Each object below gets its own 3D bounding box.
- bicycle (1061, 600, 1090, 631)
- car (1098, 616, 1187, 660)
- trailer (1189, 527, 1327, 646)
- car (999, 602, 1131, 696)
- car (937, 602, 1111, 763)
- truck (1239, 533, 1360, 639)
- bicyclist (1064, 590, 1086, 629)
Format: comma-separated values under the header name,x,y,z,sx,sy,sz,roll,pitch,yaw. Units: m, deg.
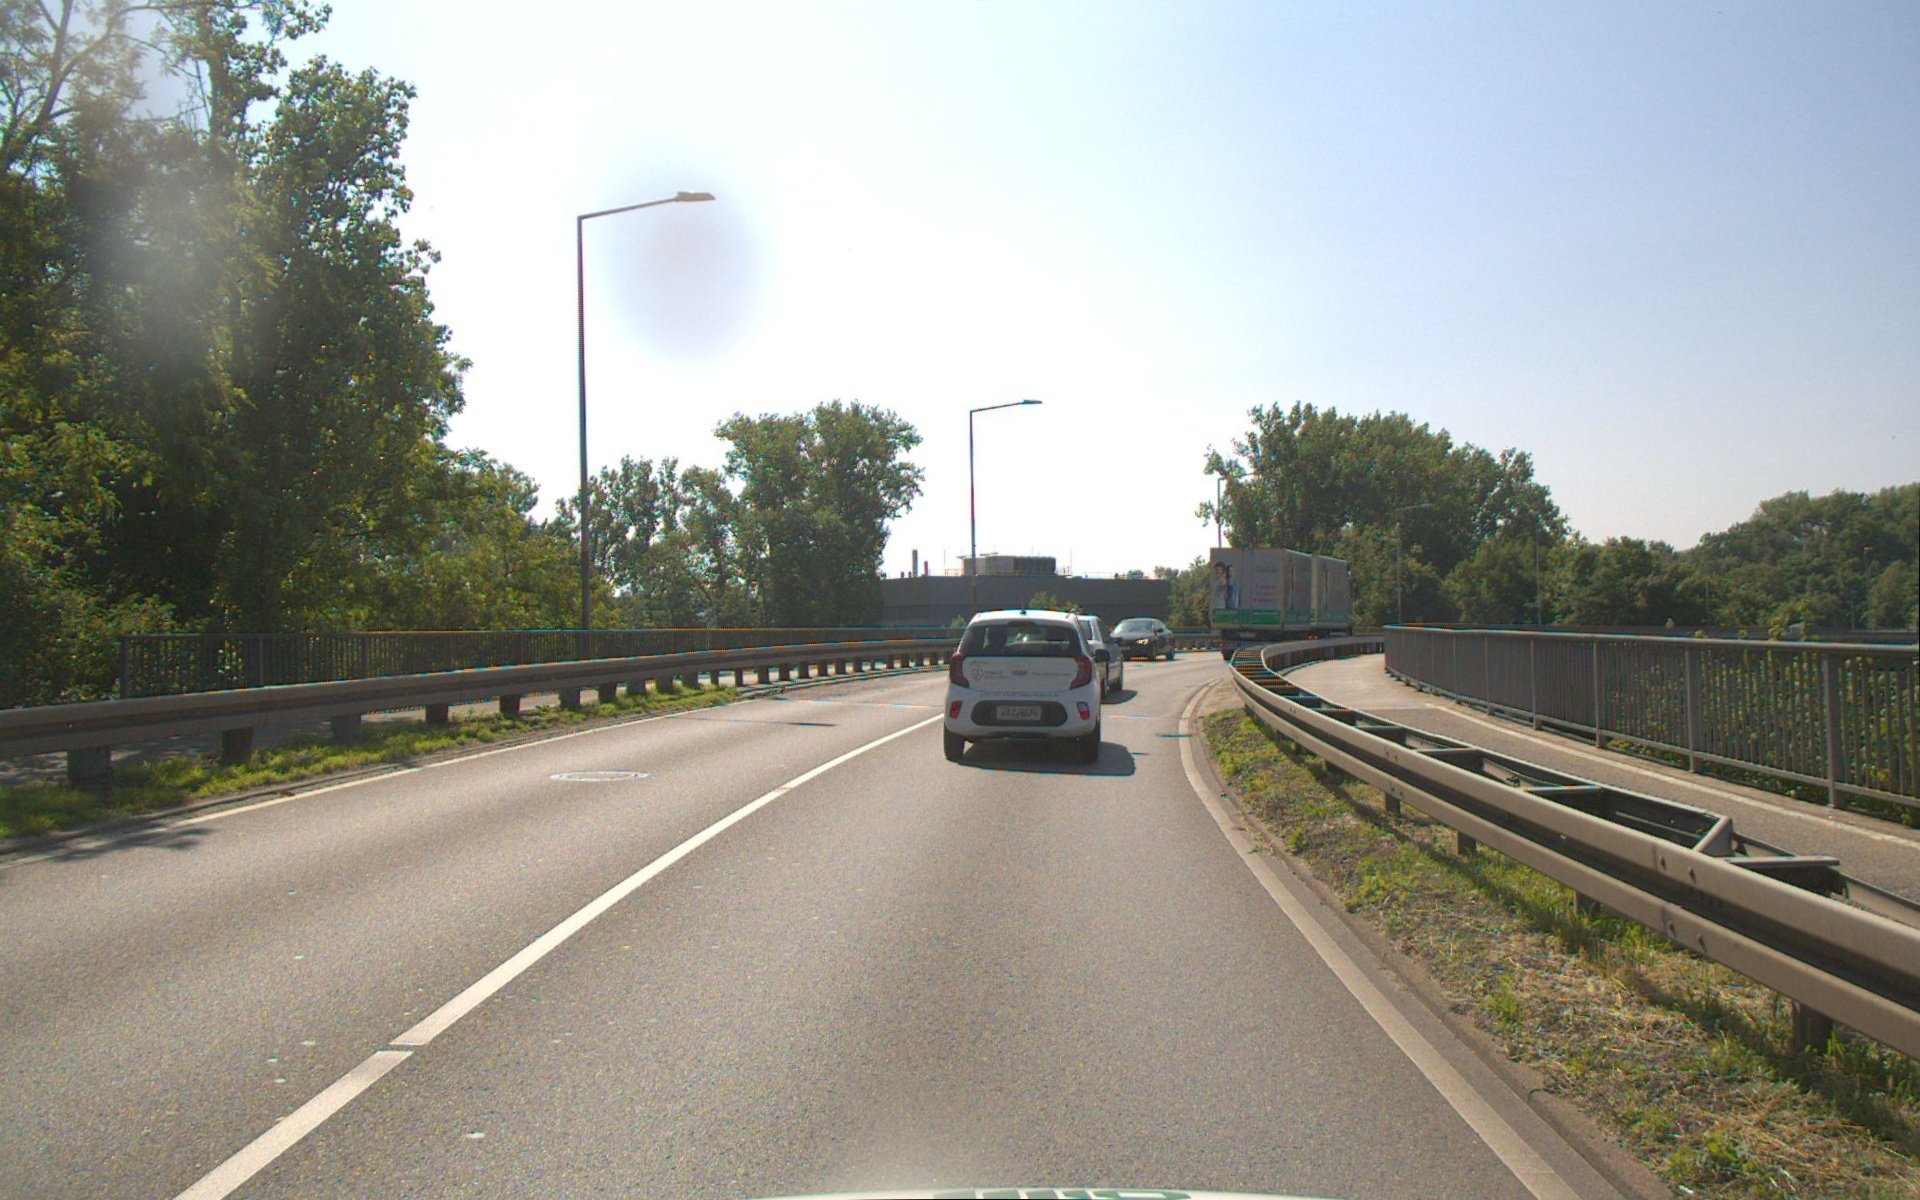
name,x,y,z,sx,sy,sz,roll,pitch,yaw
bicycle,4.506,0.614,64.586,0.599,1.155,2.150,-3,-2,17
car,6.302,1.273,56.802,1.917,1.404,4.301,0,0,22
trailer,10.561,-0.508,57.903,3.159,3.823,7.824,2,1,22
car,1.983,0.831,29.864,1.897,1.512,4.904,1,0,9
car,0.766,0.806,18.141,1.666,1.520,4.002,2,0,4
truck,13.493,-0.589,65.244,3.194,3.823,8.371,2,1,21
bicyclist,4.482,0.367,64.526,0.595,1.464,1.078,-2,-2,17
